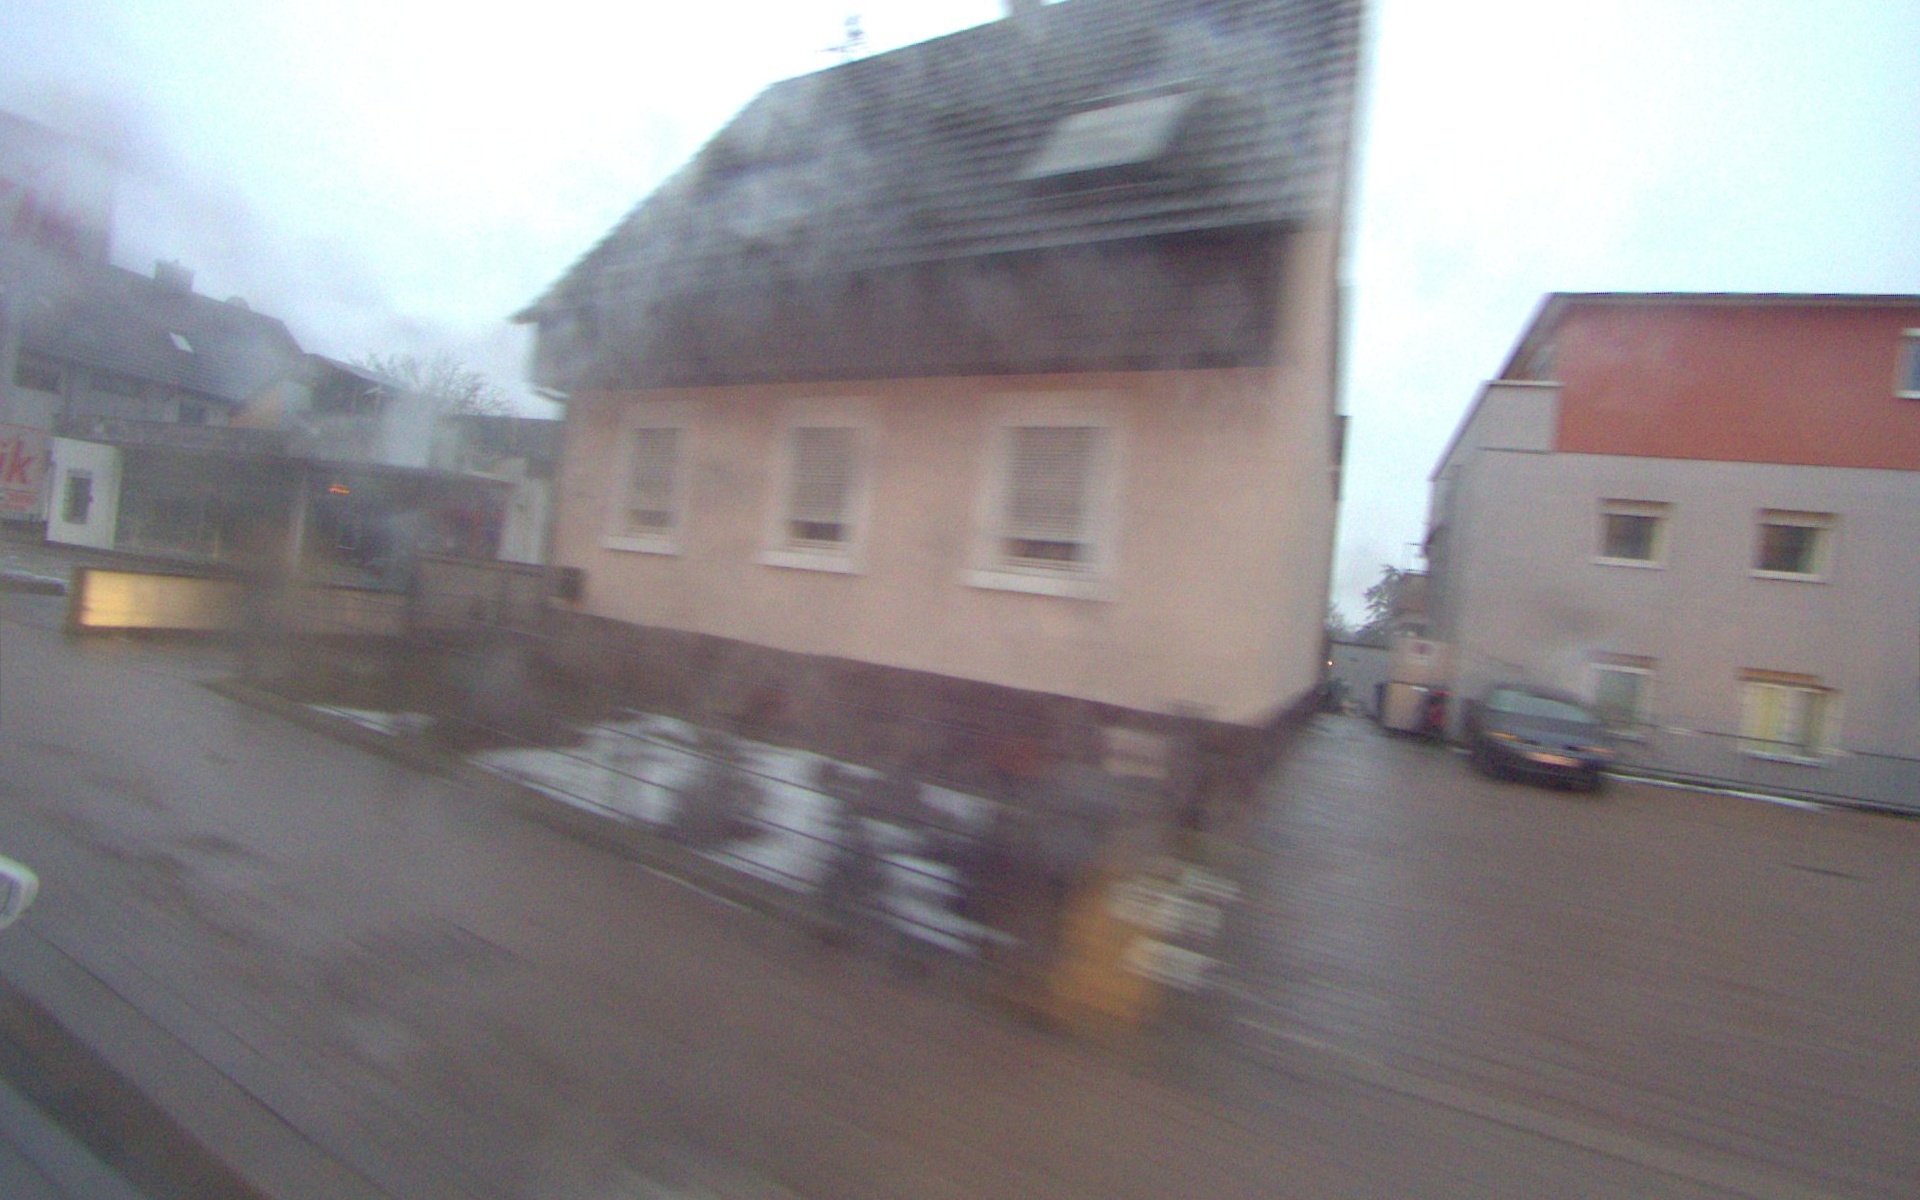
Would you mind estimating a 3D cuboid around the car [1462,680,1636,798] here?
[{"bbox_3d":[9.337,2.120,16.275,1.809,1.394,3.999,7,-1,24],"label":"car"}]
